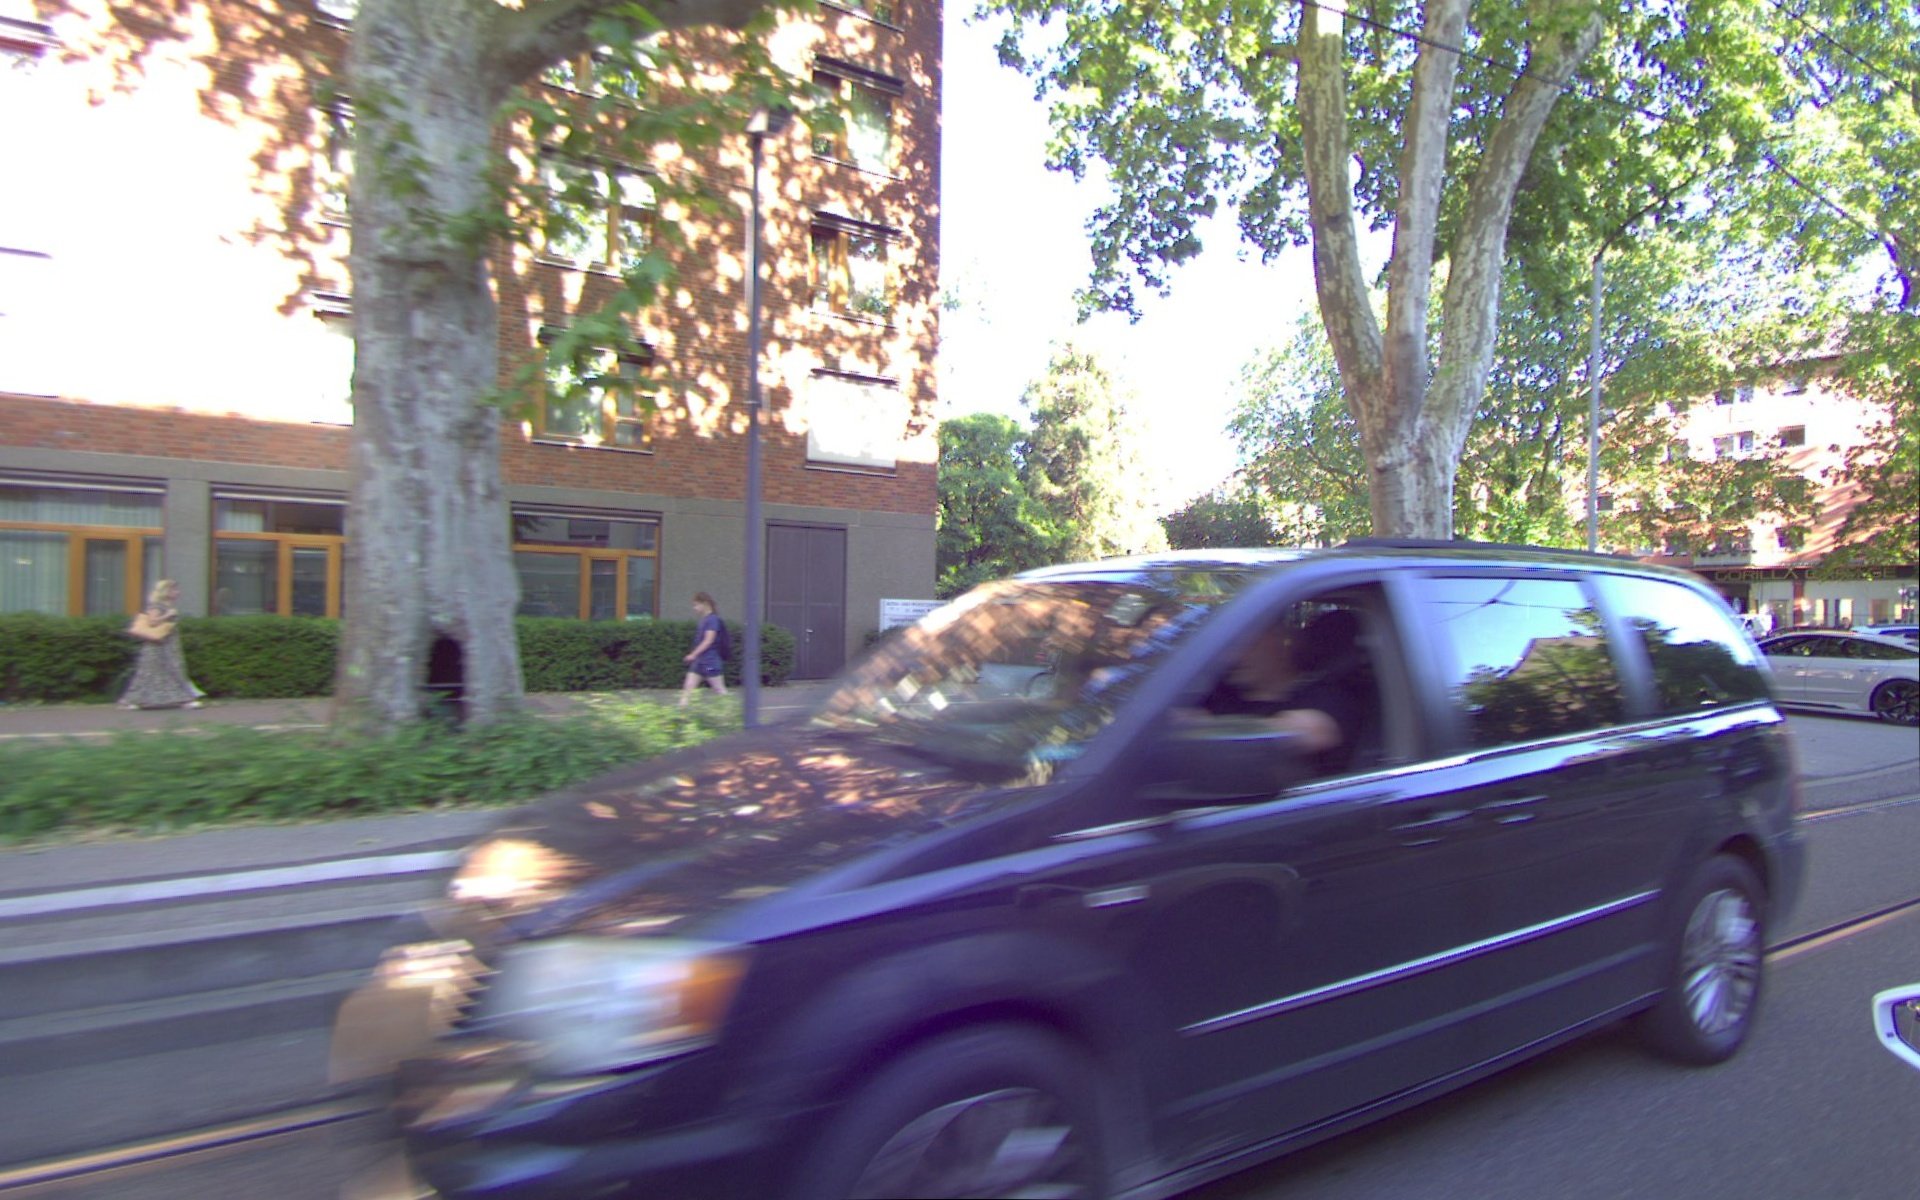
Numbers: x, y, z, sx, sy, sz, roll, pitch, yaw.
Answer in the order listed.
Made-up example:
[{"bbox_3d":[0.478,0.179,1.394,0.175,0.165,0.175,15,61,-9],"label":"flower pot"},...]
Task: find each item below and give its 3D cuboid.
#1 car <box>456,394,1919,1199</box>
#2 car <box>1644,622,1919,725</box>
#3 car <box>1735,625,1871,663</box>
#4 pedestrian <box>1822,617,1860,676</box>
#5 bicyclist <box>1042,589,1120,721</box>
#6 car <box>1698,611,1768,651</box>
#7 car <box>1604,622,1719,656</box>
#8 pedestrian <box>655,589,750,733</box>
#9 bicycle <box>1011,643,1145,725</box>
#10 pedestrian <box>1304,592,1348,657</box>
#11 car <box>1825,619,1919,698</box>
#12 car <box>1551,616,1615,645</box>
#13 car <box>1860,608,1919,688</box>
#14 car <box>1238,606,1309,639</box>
[{"bbox_3d":[1.127,0.637,3.558,5.083,1.739,1.984,2,0,-31],"label":"car"},{"bbox_3d":[14.938,1.207,17.389,1.934,1.480,4.735,2,0,-34],"label":"car"},{"bbox_3d":[39.043,2.013,46.616,1.842,1.509,4.496,2,0,-35],"label":"car"},{"bbox_3d":[28.163,1.480,32.104,0.741,1.834,0.642,1,0,-25],"label":"pedestrian"},{"bbox_3d":[1.726,0.767,14.377,0.828,1.811,0.697,1,0,-29],"label":"bicyclist"},{"bbox_3d":[42.119,1.660,54.686,4.879,2.030,1.977,2,0,-40],"label":"car"},{"bbox_3d":[35.629,1.957,51.114,1.807,1.469,4.434,2,0,-37],"label":"car"},{"bbox_3d":[-3.189,0.728,12.431,0.957,1.694,0.735,1,0,-29],"label":"pedestrian"},{"bbox_3d":[1.702,1.174,14.375,1.817,1.078,0.712,2,0,-29],"label":"bicycle"},{"bbox_3d":[10.228,0.677,28.083,0.897,1.760,0.846,1,0,1],"label":"pedestrian"},{"bbox_3d":[21.797,1.307,21.869,1.881,1.668,4.118,2,0,-31],"label":"car"},{"bbox_3d":[38.462,1.872,61.988,4.443,1.639,1.930,2,0,-38],"label":"car"},{"bbox_3d":[23.918,1.162,23.024,1.916,1.858,4.547,2,0,-31],"label":"car"},{"bbox_3d":[22.595,1.592,72.599,2.021,2.227,4.702,1,0,-33],"label":"car"}]
